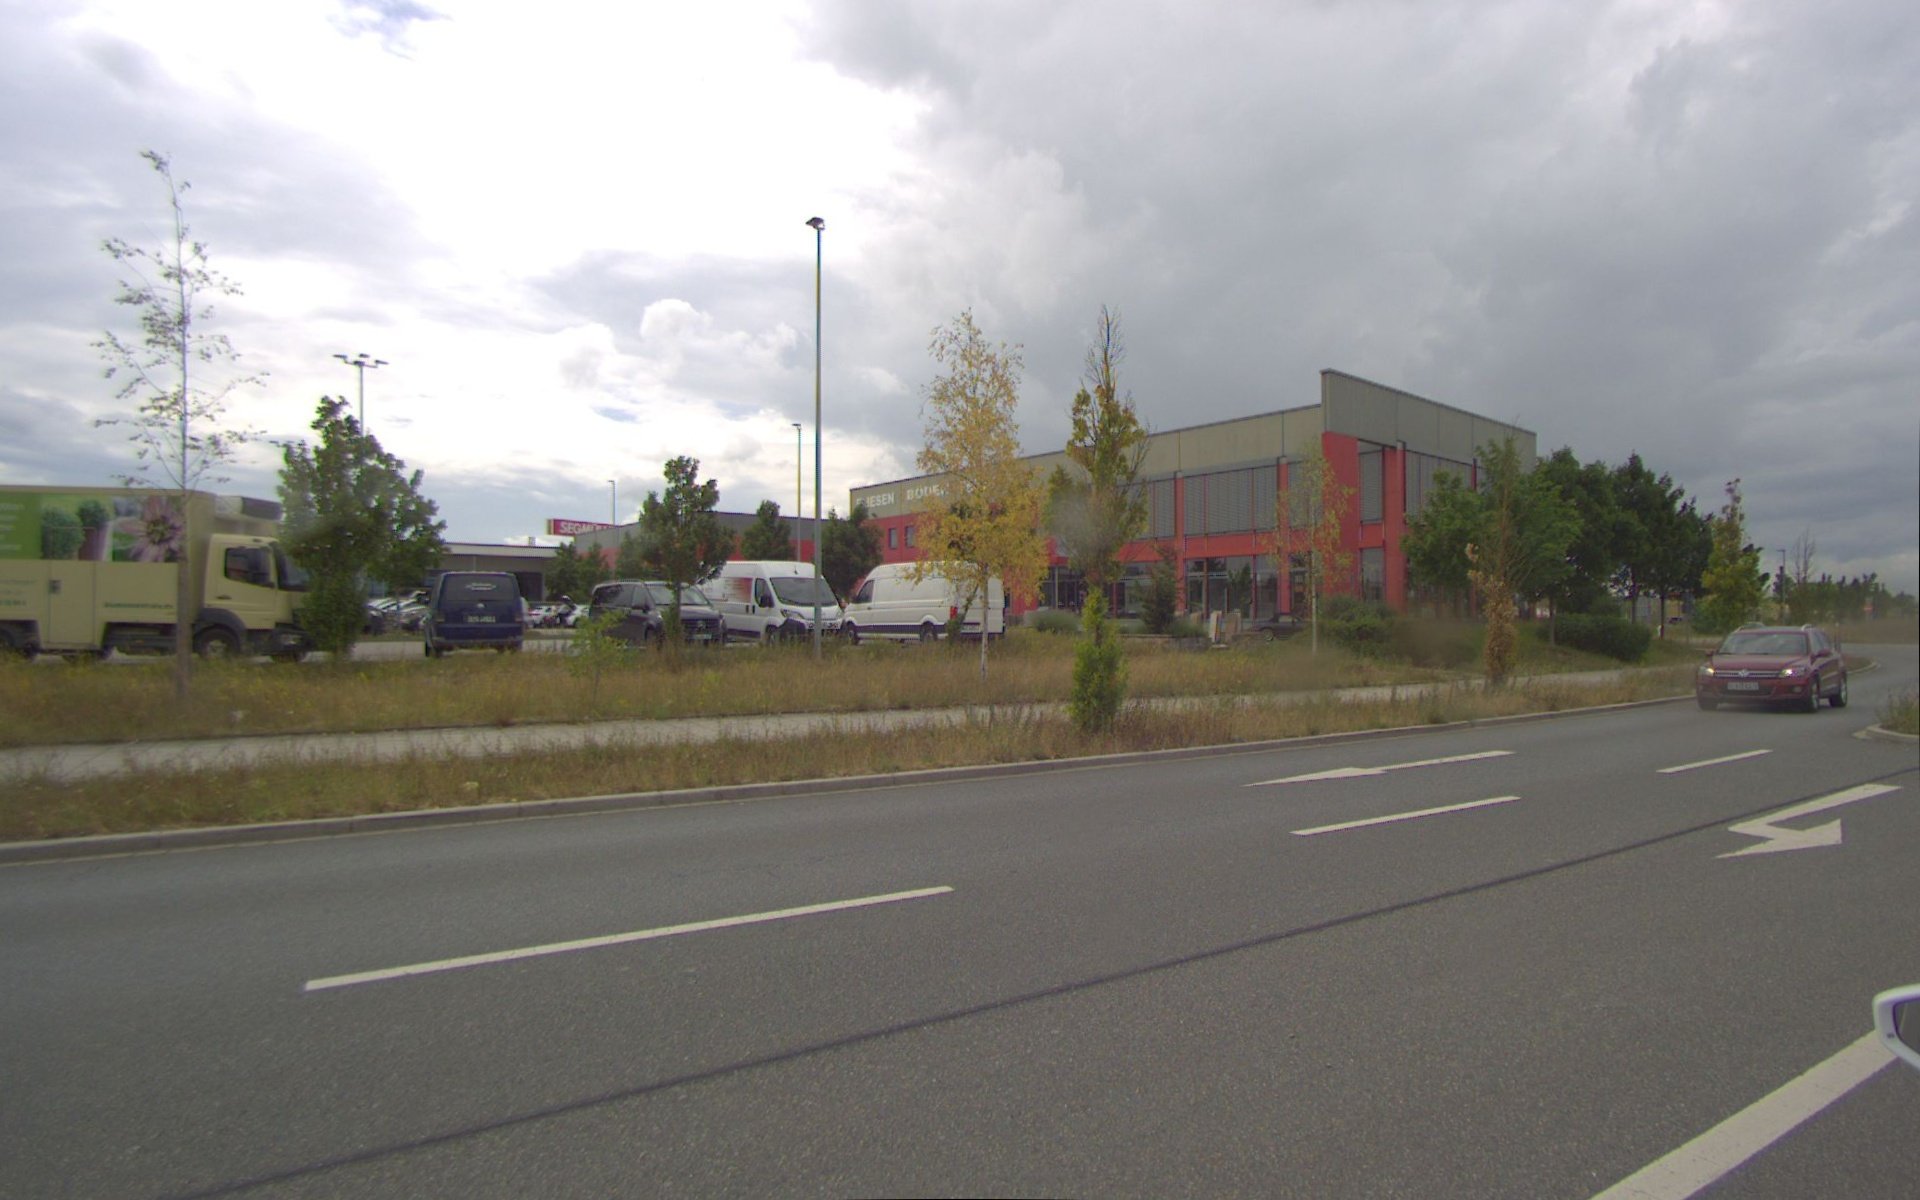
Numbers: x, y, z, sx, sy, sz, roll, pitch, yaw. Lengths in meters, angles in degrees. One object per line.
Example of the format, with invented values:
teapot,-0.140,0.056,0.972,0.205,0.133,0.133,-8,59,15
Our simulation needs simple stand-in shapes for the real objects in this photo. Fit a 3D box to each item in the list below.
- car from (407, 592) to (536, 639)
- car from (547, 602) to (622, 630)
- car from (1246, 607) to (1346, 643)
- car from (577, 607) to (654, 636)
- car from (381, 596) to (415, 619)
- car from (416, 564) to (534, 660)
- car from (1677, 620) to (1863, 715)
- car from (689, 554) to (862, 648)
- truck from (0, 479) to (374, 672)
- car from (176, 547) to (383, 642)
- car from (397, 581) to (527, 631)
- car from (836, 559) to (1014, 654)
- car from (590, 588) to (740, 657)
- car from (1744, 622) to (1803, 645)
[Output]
car,-17.895,0.586,36.911,3.973,1.623,1.652,2,-2,-44
car,-23.384,1.026,62.537,3.967,1.673,1.977,2,-2,-40
car,15.507,1.150,46.443,4.301,1.572,2.000,0,-1,20
car,-20.884,1.303,60.972,3.967,1.673,1.977,2,-2,-40
car,-42.288,0.564,75.538,1.978,1.628,3.964,1,-1,-32
car,-11.536,0.302,23.718,2.153,2.016,4.879,1,-1,-30
car,16.152,1.300,19.965,4.285,1.691,1.787,1,-4,-36
car,-5.284,0.072,27.995,2.191,2.337,6.022,1,-1,-38
truck,-16.917,-0.459,20.394,8.264,3.588,2.858,1,0,-1
car,-21.238,-0.108,31.520,2.037,2.726,5.113,-1,-1,45
car,-19.708,0.269,39.838,4.238,1.874,1.974,2,-2,-44
car,-1.248,0.220,30.906,2.223,2.633,6.360,1,-1,-37
car,-7.800,0.580,26.216,1.979,1.638,4.861,2,-2,-40
car,52.318,2.157,64.650,1.812,1.425,3.999,-2,-3,22
